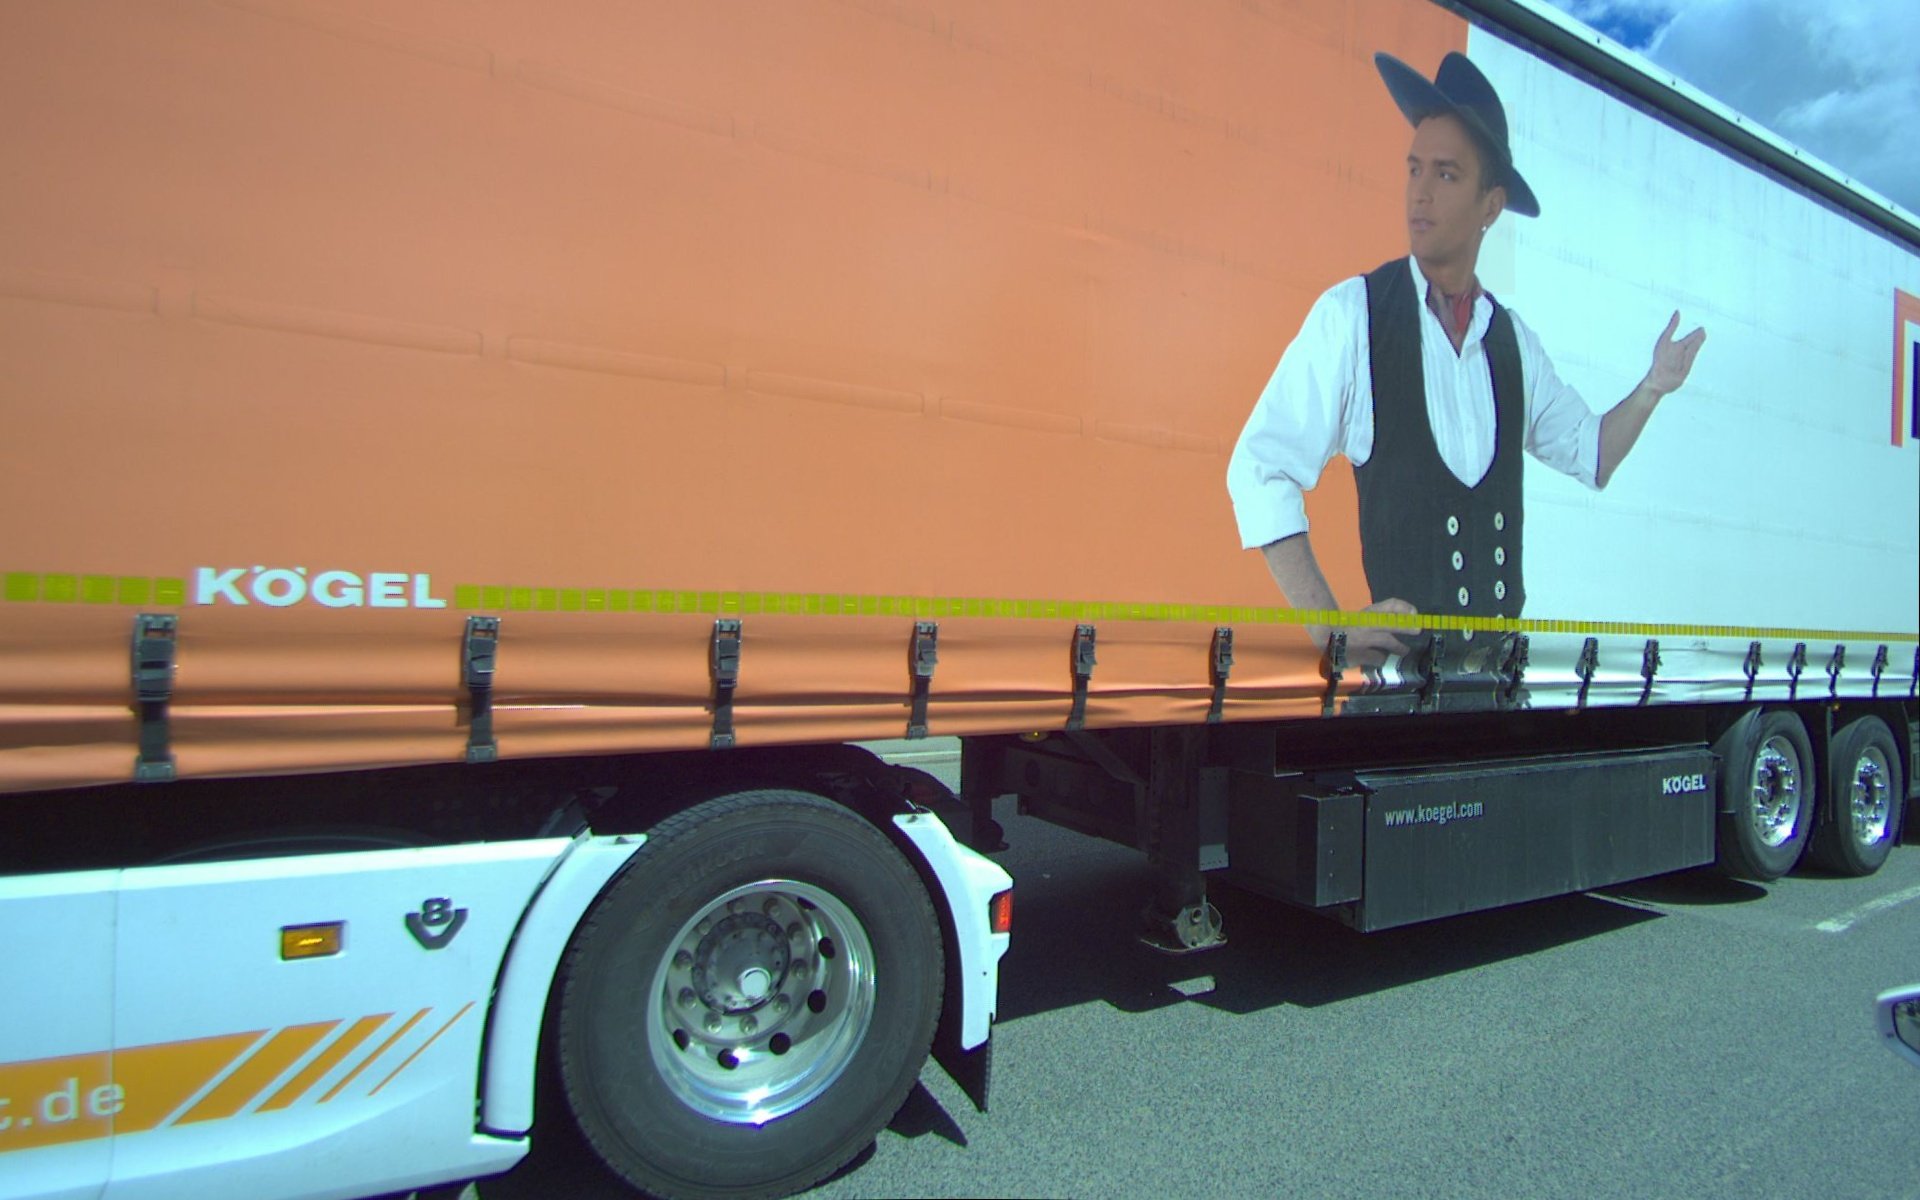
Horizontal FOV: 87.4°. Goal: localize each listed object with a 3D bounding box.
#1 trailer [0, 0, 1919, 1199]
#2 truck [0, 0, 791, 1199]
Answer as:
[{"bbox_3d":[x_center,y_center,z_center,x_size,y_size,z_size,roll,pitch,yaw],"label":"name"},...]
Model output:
[{"bbox_3d":[4.232,-0.559,6.707,15.170,4.200,2.758,2,0,-30],"label":"trailer"},{"bbox_3d":[-3.227,-0.744,2.396,4.927,4.174,2.758,1,0,-30],"label":"truck"}]
